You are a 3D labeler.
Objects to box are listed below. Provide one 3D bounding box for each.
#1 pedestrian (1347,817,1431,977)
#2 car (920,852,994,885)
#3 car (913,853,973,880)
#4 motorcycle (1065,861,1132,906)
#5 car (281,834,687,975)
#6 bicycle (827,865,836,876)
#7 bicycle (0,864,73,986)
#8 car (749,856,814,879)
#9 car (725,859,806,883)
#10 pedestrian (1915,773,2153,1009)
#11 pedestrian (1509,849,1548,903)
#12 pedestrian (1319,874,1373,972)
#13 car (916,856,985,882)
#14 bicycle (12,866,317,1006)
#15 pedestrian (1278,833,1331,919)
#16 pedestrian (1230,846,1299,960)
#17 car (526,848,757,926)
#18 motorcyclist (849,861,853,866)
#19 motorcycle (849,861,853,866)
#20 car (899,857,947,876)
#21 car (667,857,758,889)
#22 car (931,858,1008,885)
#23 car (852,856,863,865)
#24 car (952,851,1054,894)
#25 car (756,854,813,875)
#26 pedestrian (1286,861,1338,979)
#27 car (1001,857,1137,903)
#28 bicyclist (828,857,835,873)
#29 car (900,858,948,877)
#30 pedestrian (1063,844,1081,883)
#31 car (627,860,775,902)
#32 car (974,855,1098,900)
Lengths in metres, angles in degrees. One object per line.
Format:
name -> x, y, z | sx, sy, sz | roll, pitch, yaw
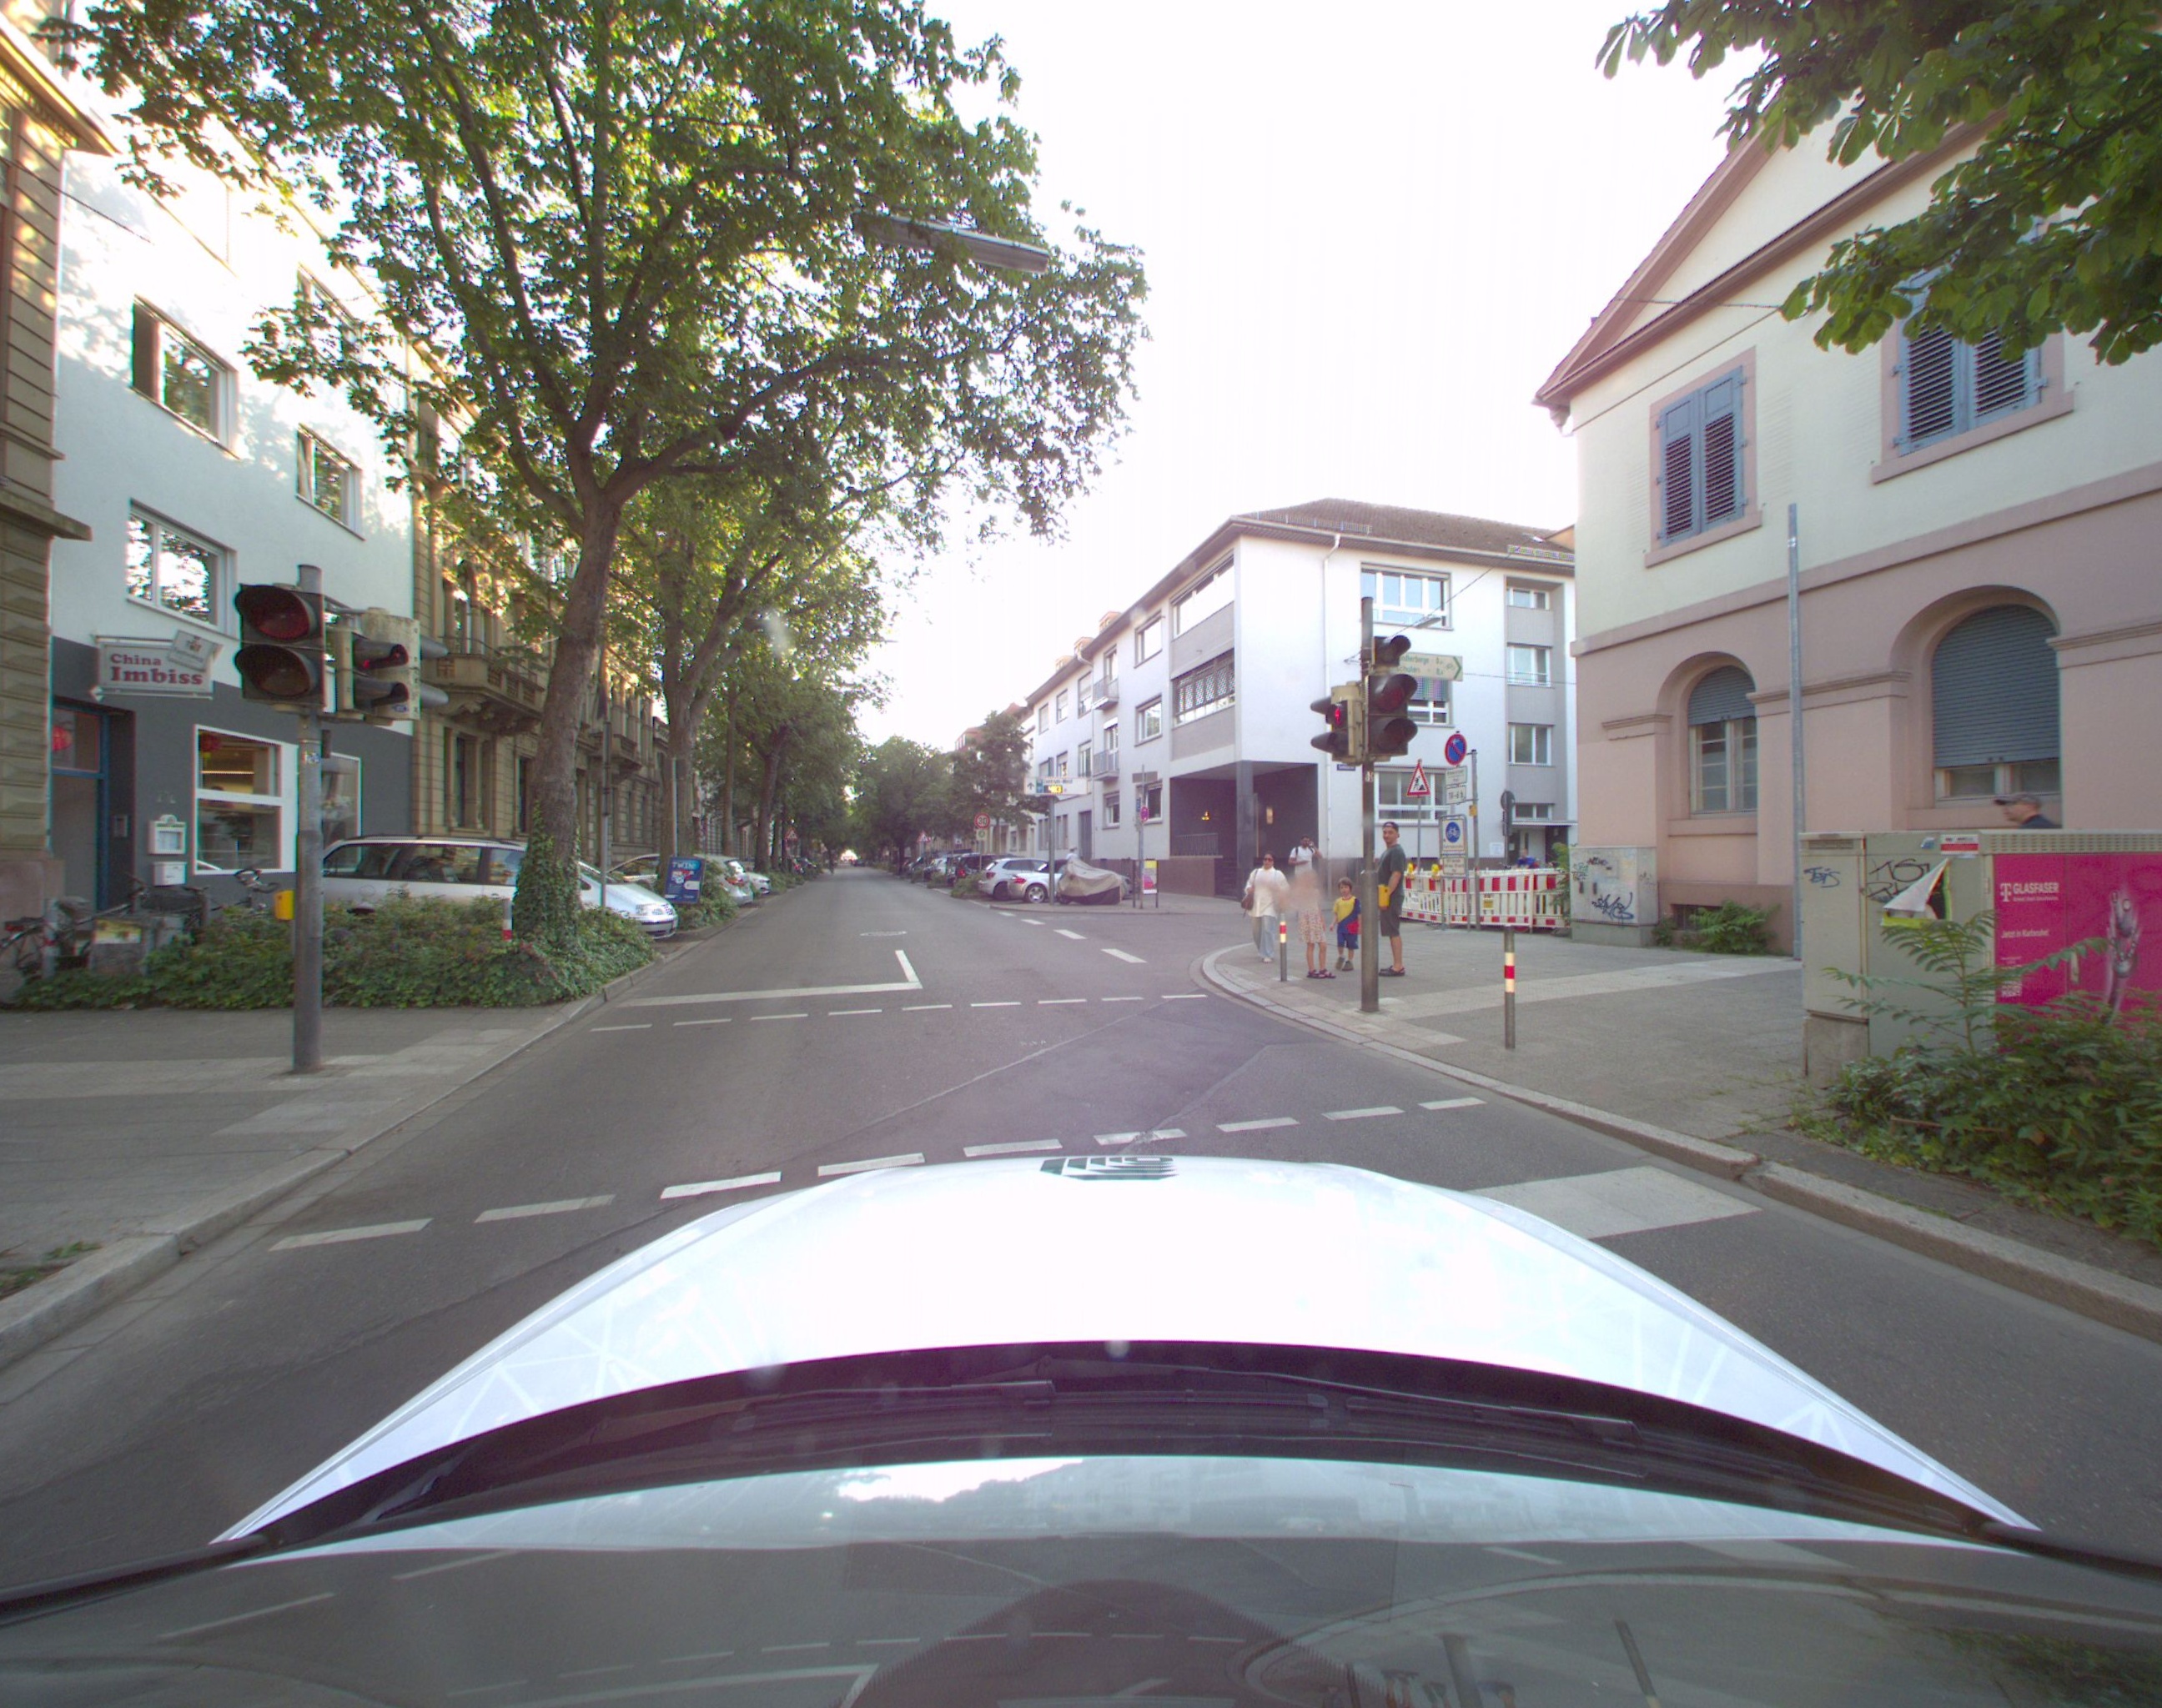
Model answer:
pedestrian -> 3.637, 0.475, 9.680 | 0.881, 1.815, 0.798 | -1, 2, 18
car -> -7.195, 0.809, 47.152 | 4.023, 1.815, 1.697 | -1, 0, -17
car -> -9.681, 0.868, 57.062 | 4.023, 1.830, 1.697 | 0, -1, -17
motorcycle -> 0.480, 0.803, 22.791 | 1.798, 1.199, 0.611 | -1, 0, -7
car -> -8.606, 0.642, 12.279 | 4.562, 1.835, 1.821 | -1, 0, -19
bicycle -> -22.943, 1.497, 74.877 | 0.573, 0.949, 1.731 | 1, -1, -22
bicycle -> -10.879, 0.710, 7.475 | 0.637, 1.202, 2.551 | -1, 0, -14
car -> -23.010, 1.023, 62.729 | 4.557, 1.691, 1.823 | 0, 0, -16
car -> -19.605, 1.055, 50.828 | 4.557, 1.410, 1.823 | -1, 0, -16
pedestrian -> 8.133, 0.277, 6.996 | 0.800, 1.838, 1.076 | -3, 1, -18
pedestrian -> 12.432, 0.595, 22.642 | 0.739, 1.467, 0.559 | -1, -1, -16
pedestrian -> 3.261, 0.832, 10.066 | 0.561, 1.121, 0.840 | -1, 1, 14
car -> -8.045, 0.902, 49.992 | 4.023, 1.530, 1.697 | 0, 0, -17
bicycle -> -9.239, 0.738, 8.439 | 0.735, 1.186, 2.621 | 1, -1, -15
pedestrian -> 4.961, 0.478, 18.112 | 0.768, 1.841, 0.938 | 0, 0, -15
pedestrian -> 2.539, 0.648, 11.235 | 0.767, 1.501, 0.806 | -2, -1, 21
car -> -10.344, 0.735, 19.548 | 4.557, 1.689, 1.823 | -1, 0, -16
motorcyclist -> -56.395, 2.258, 199.672 | 0.820, 1.236, 0.845 | 1, -1, -16
motorcycle -> -56.429, 2.264, 199.781 | 0.820, 1.236, 2.014 | 1, -1, -16
car -> -13.878, 1.080, 71.369 | 4.023, 1.602, 1.697 | 0, 0, -17
car -> -19.129, 0.954, 42.427 | 4.047, 1.590, 1.823 | -1, 0, -16
car -> -6.177, 0.964, 45.191 | 4.023, 1.409, 1.697 | -1, 0, -17
car -> -40.548, 1.185, 147.637 | 1.829, 1.561, 4.004 | 1, -1, -17
car -> -3.312, 0.750, 34.349 | 4.023, 1.690, 1.697 | -1, 0, -17
car -> -26.004, 0.934, 71.578 | 4.557, 1.802, 1.823 | 0, 0, -16
pedestrian -> 2.691, 0.754, 9.532 | 0.502, 1.336, 0.542 | 0, 0, 7
car -> -0.396, 0.787, 25.828 | 4.022, 1.342, 1.698 | -1, 0, -16
bicyclist -> -22.975, 1.034, 74.951 | 0.573, 1.470, 0.638 | 1, -1, -22
car -> -13.373, 1.168, 69.662 | 3.979, 1.578, 1.903 | 1, -1, -11
pedestrian -> -0.408, 0.441, 37.671 | 0.704, 1.752, 0.696 | 0, 0, -12
car -> -13.514, 0.915, 29.280 | 4.557, 1.372, 1.823 | -1, 0, -16
car -> -1.567, 0.775, 28.222 | 4.023, 1.442, 1.697 | -1, 0, -17
